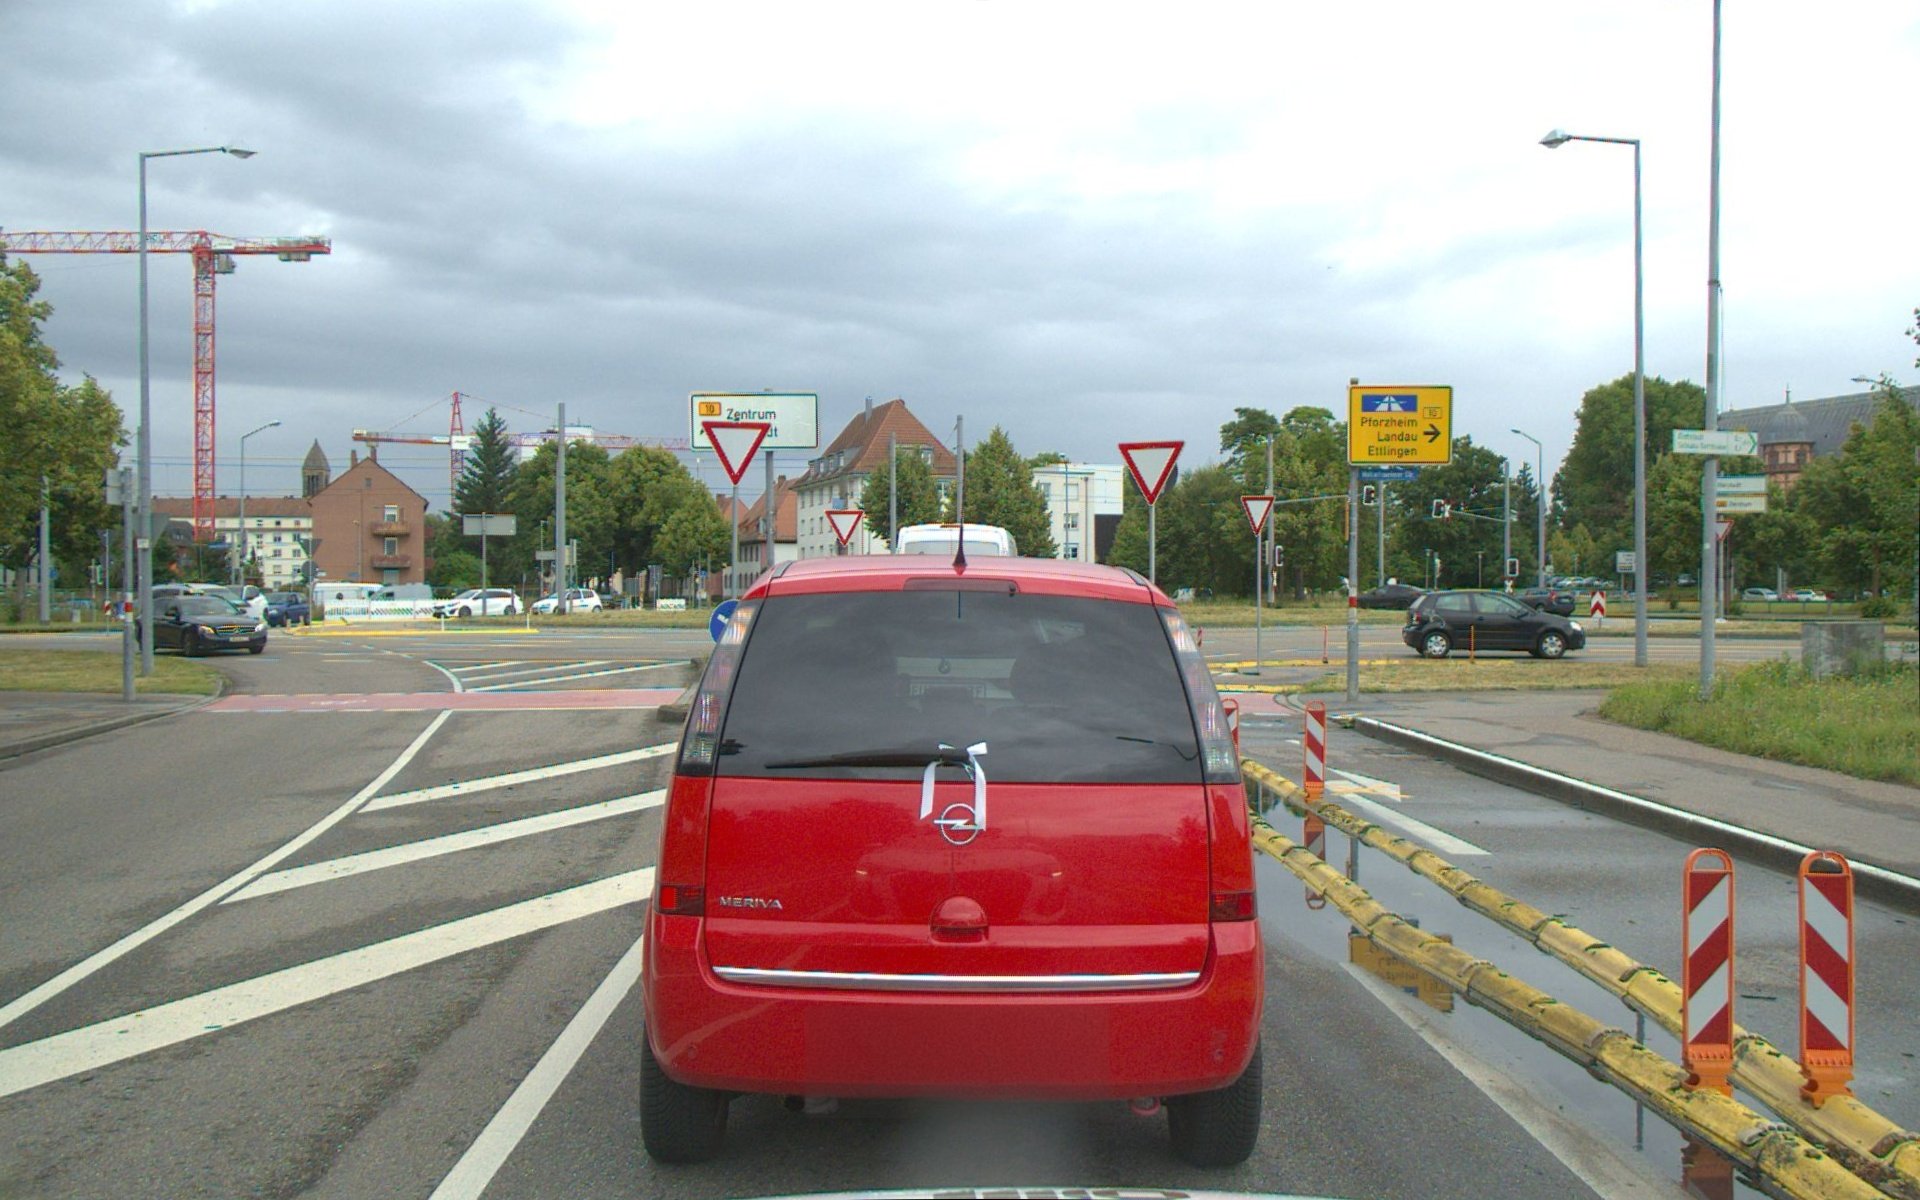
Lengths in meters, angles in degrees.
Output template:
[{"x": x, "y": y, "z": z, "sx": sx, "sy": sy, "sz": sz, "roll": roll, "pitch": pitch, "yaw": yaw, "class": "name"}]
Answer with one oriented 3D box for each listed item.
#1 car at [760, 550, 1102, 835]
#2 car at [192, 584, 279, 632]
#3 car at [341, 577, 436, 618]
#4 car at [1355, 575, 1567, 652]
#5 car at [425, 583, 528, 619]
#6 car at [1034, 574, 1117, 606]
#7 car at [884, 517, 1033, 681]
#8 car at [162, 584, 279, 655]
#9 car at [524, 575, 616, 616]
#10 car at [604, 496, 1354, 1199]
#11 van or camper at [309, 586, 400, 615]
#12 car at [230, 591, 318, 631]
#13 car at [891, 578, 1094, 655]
[{"x": -0.208, "y": 0.536, "z": 12.172, "sx": 2.018, "sy": 1.676, "sz": 4.606, "roll": 1, "pitch": 0, "yaw": -1, "class": "car"}, {"x": -26.997, "y": 0.270, "z": 61.771, "sx": 1.895, "sy": 1.713, "sz": 4.181, "roll": -1, "pitch": 0, "yaw": -8, "class": "car"}, {"x": -30.248, "y": -0.147, "z": 87.554, "sx": 4.419, "sy": 2.049, "sz": 1.979, "roll": -1, "pitch": 0, "yaw": -31, "class": "car"}, {"x": 10.950, "y": 0.293, "z": 36.453, "sx": 4.331, "sy": 1.630, "sz": 2.101, "roll": 0, "pitch": 0, "yaw": 14, "class": "car"}, {"x": -23.398, "y": 0.033, "z": 80.213, "sx": 1.959, "sy": 1.663, "sz": 4.660, "roll": 0, "pitch": 0, "yaw": 34, "class": "car"}, {"x": 7.201, "y": -0.603, "z": 103.279, "sx": 4.788, "sy": 1.951, "sz": 2.109, "roll": 0, "pitch": 0, "yaw": 34, "class": "car"}, {"x": 0.083, "y": -0.039, "z": 28.914, "sx": 2.149, "sy": 2.584, "sz": 4.965, "roll": 1, "pitch": 0, "yaw": 5, "class": "car"}, {"x": -18.930, "y": 0.468, "z": 42.248, "sx": 1.978, "sy": 1.713, "sz": 3.949, "roll": -1, "pitch": 0, "yaw": -36, "class": "car"}, {"x": -19.965, "y": -0.241, "z": 84.878, "sx": 1.959, "sy": 2.049, "sz": 4.466, "roll": 0, "pitch": 0, "yaw": 34, "class": "car"}, {"x": 0.018, "y": 0.604, "z": 5.475, "sx": 1.639, "sy": 1.669, "sz": 3.626, "roll": 1, "pitch": 0, "yaw": -1, "class": "car"}, {"x": -44.263, "y": 0.049, "z": 120.946, "sx": 6.045, "sy": 2.049, "sz": 2.002, "roll": 0, "pitch": 0, "yaw": 10, "class": "van or camper"}, {"x": -27.793, "y": 0.425, "z": 67.129, "sx": 1.891, "sy": 1.515, "sz": 4.000, "roll": -1, "pitch": 0, "yaw": -1, "class": "car"}, {"x": 0.775, "y": 0.358, "z": 36.996, "sx": 4.332, "sy": 1.630, "sz": 2.100, "roll": 0, "pitch": 0, "yaw": 6, "class": "car"}]
